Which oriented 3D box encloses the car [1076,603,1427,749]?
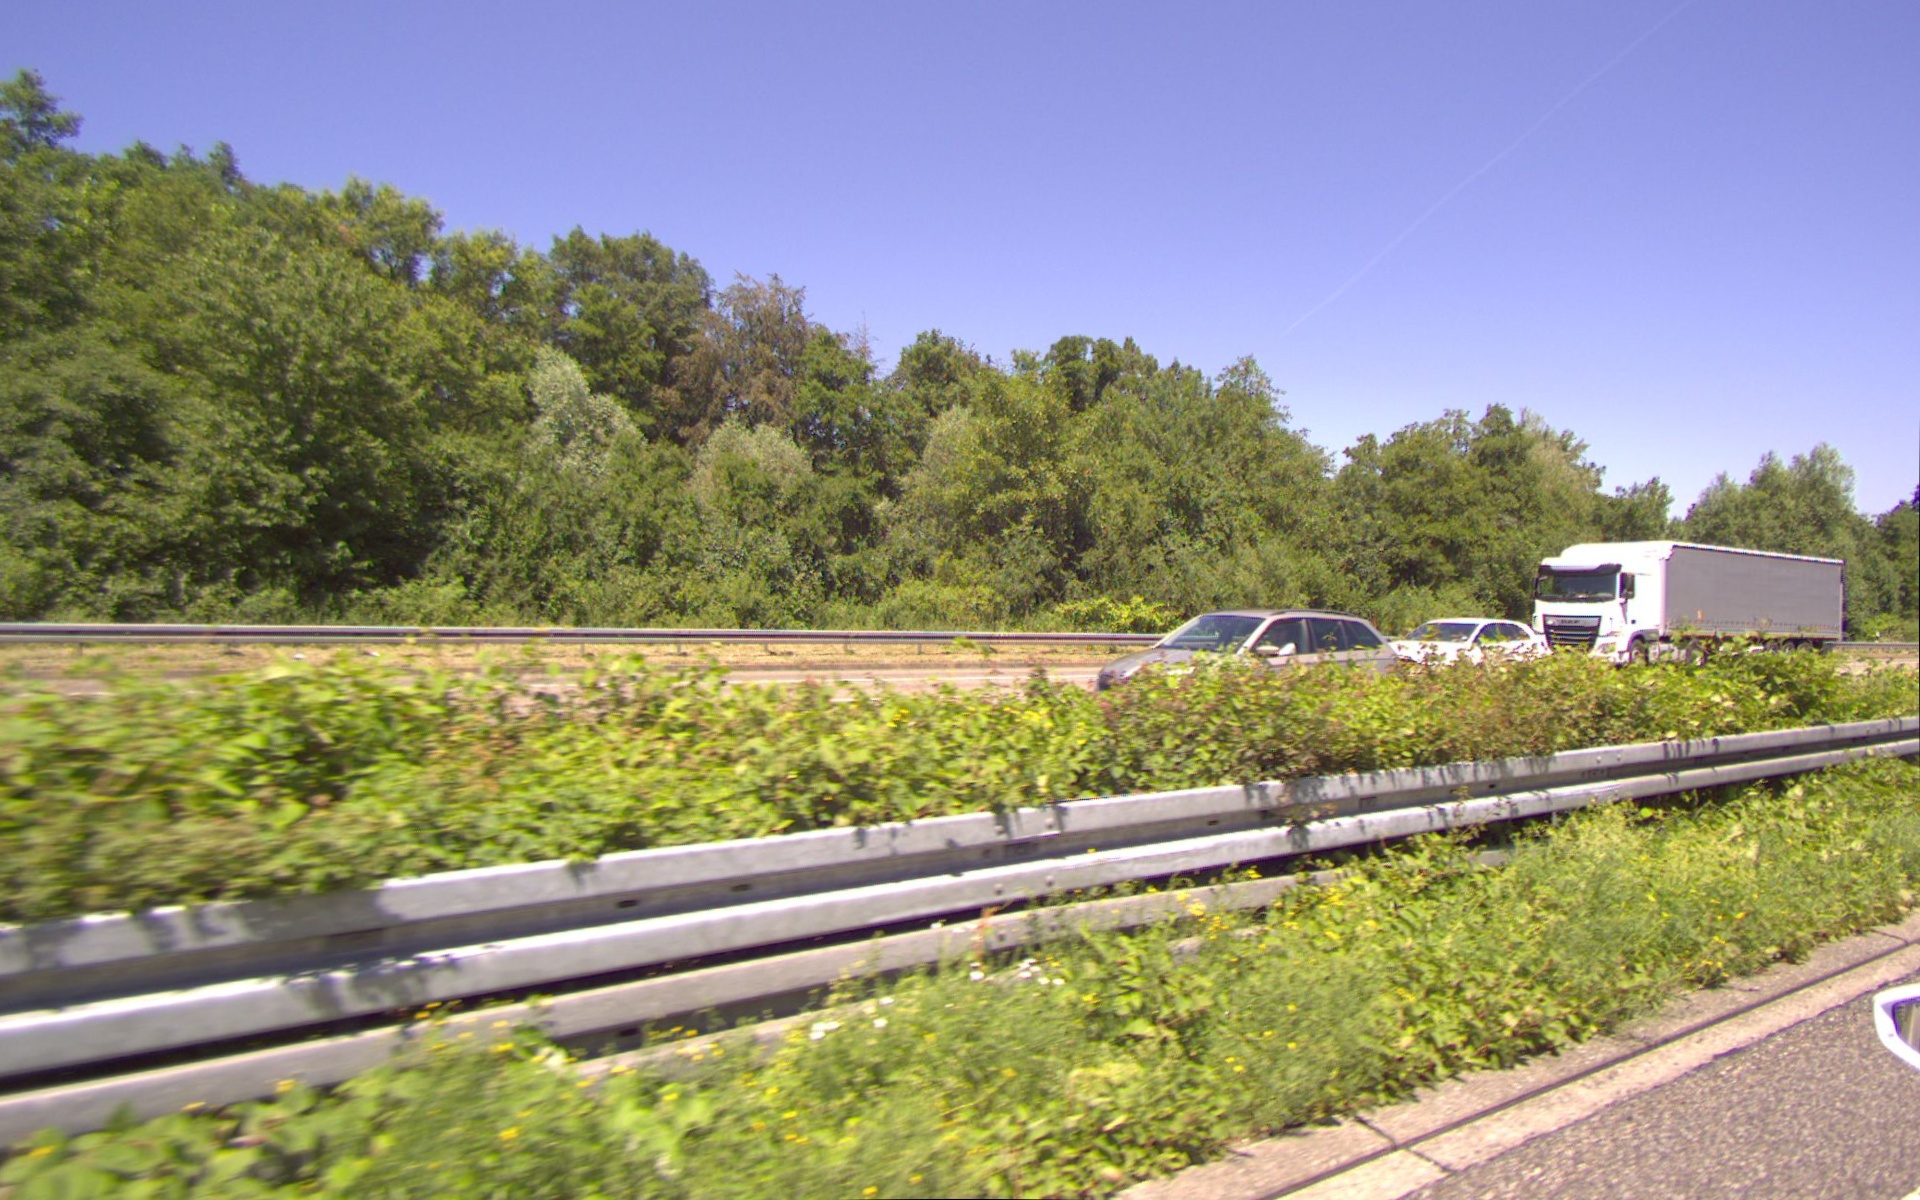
[{"bbox_3d":[3.530,0.826,11.993,4.074,1.473,1.657,2,0,-30],"label":"car"}]

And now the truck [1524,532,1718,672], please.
[{"bbox_3d":[20.973,0.130,31.765,6.482,4.038,2.646,2,0,-32],"label":"truck"}]

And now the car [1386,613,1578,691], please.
[{"bbox_3d":[11.018,1.064,21.149,4.074,1.473,1.657,2,0,-30],"label":"car"}]

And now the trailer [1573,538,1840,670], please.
[{"bbox_3d":[26.457,0.281,35.168,13.510,4.018,2.656,2,0,-32],"label":"trailer"}]
